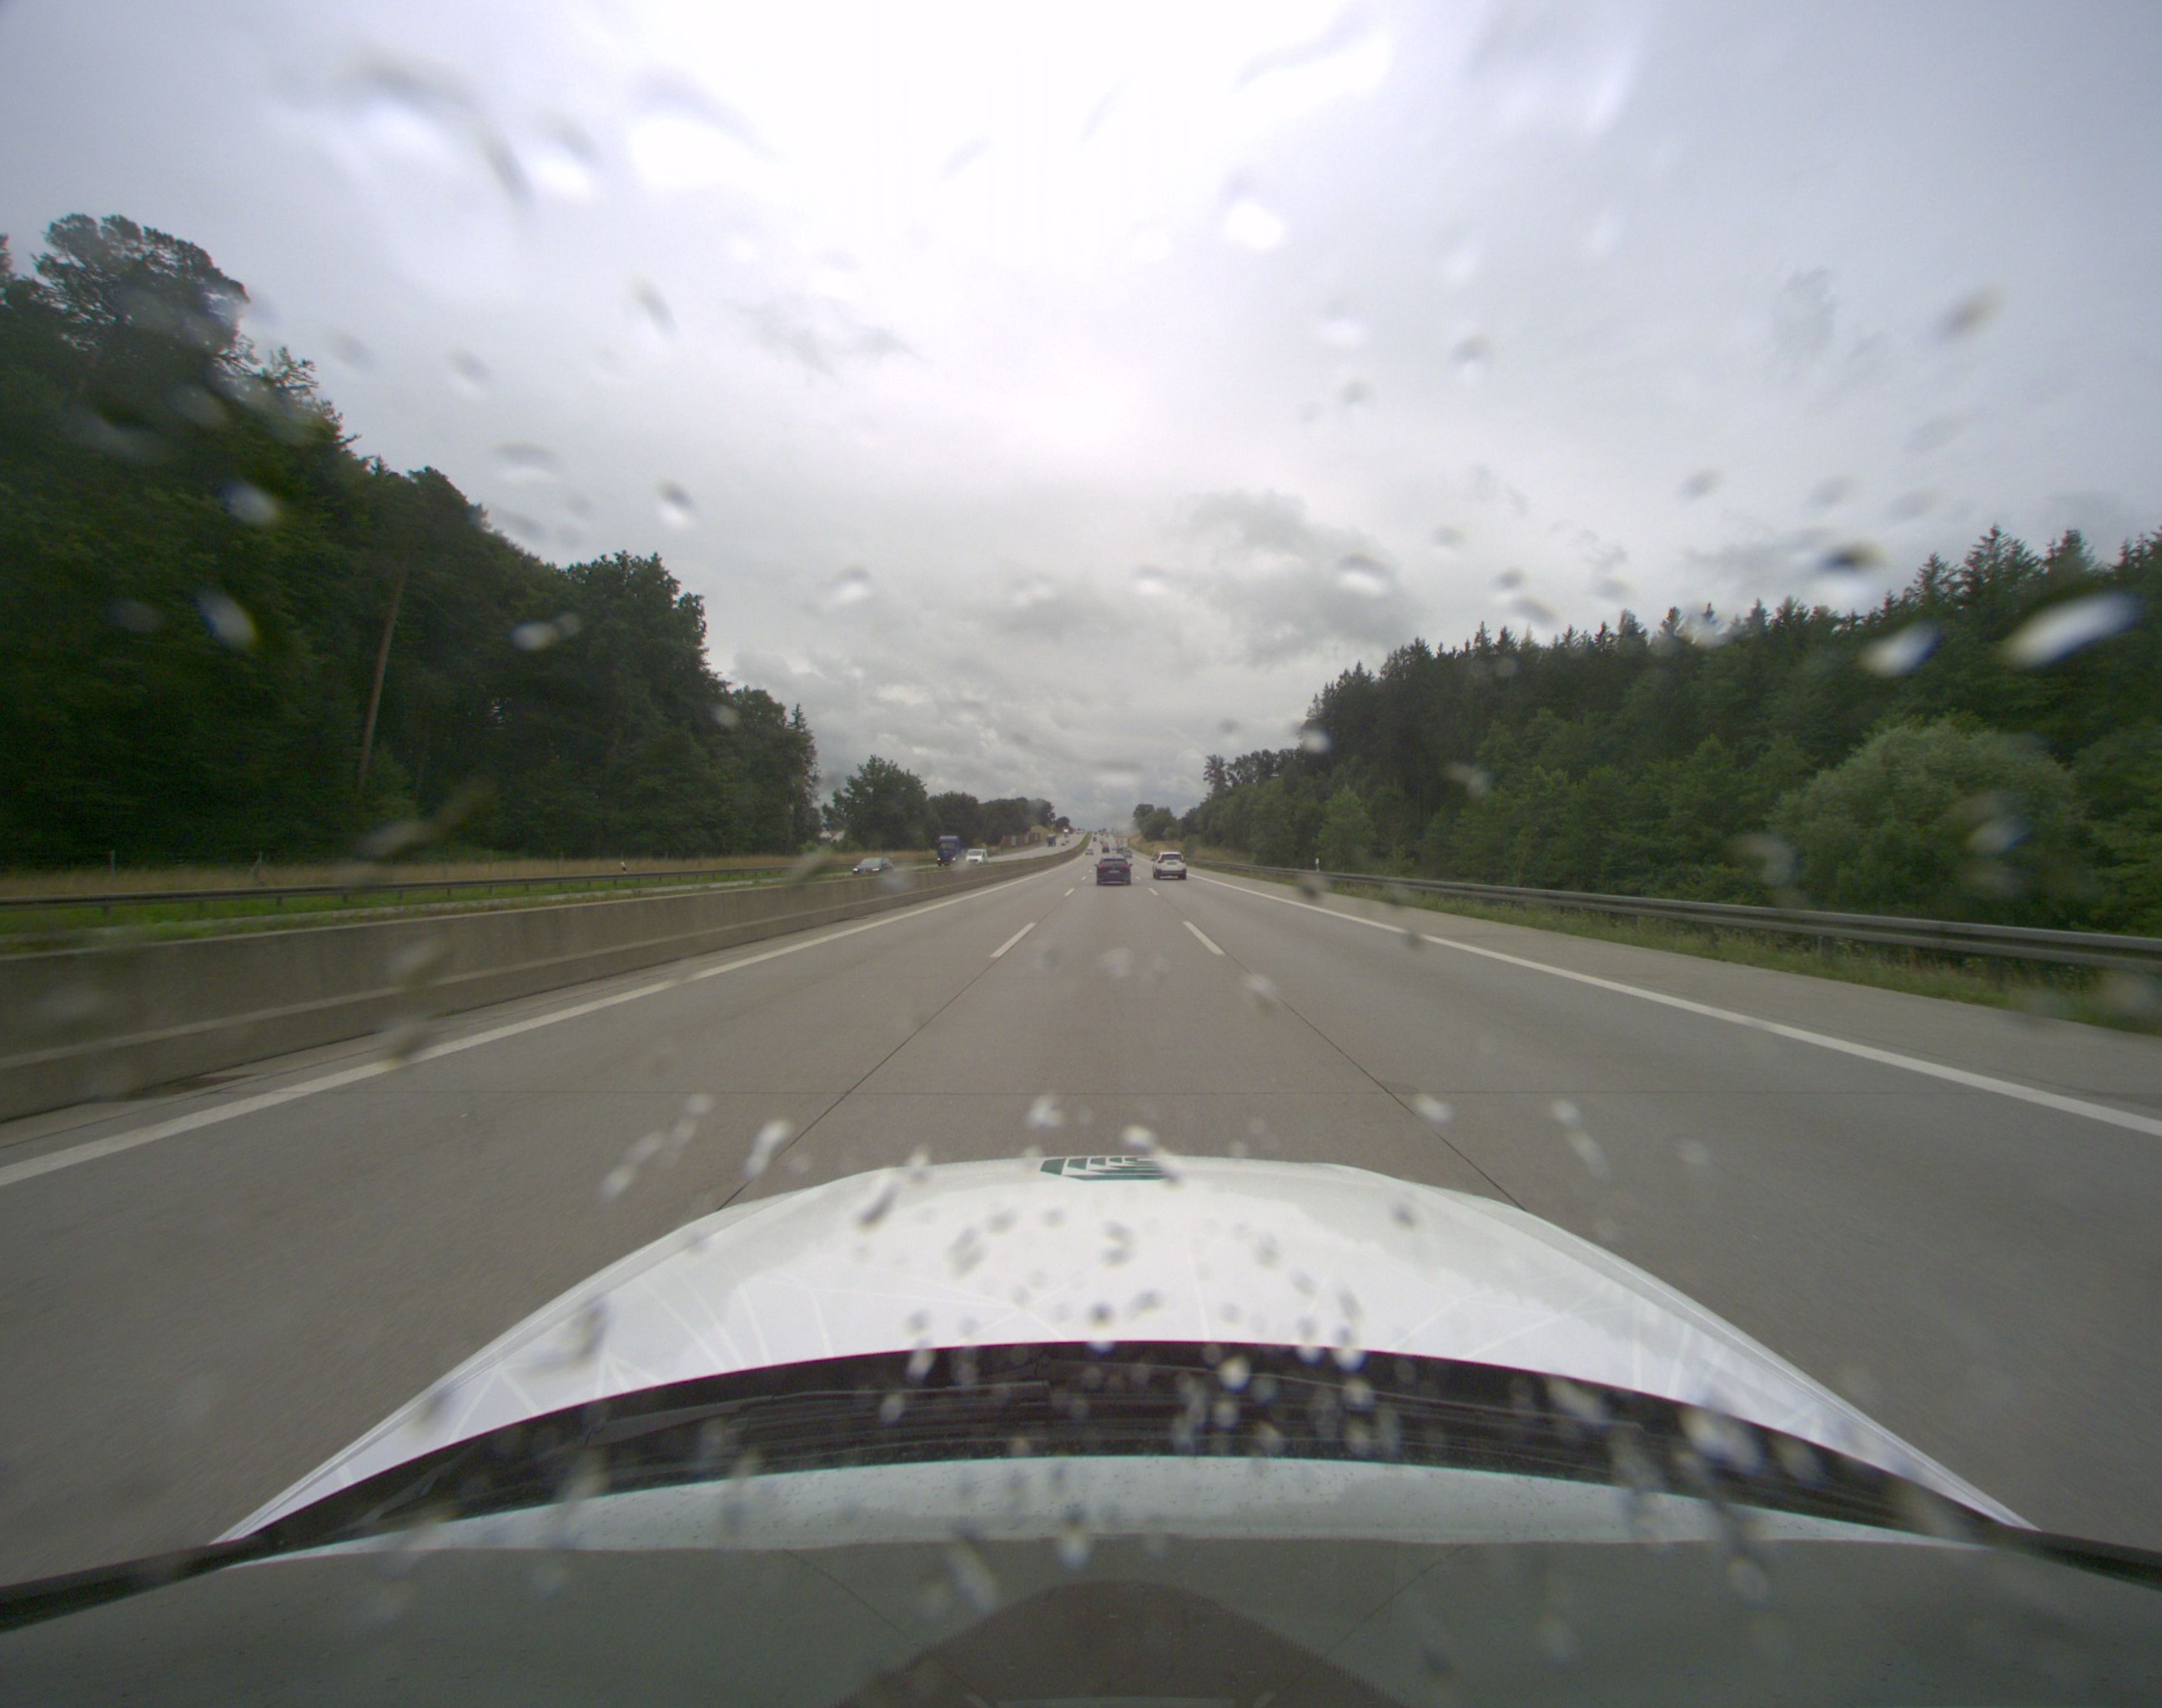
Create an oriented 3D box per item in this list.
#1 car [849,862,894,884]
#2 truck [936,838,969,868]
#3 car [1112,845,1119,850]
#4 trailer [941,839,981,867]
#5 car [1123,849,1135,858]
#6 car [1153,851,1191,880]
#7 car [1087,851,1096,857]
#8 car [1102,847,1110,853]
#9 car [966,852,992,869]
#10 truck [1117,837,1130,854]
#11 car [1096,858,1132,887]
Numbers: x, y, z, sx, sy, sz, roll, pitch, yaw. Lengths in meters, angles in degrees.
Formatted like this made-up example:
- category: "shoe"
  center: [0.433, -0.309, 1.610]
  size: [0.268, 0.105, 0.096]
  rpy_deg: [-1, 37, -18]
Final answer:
- category: "car"
  center: [-13.711, 1.201, 53.636]
  size: [1.842, 1.376, 4.436]
  rpy_deg: [0, 0, 0]
- category: "truck"
  center: [-15.696, -0.106, 99.620]
  size: [2.746, 3.517, 6.643]
  rpy_deg: [0, 0, 2]
- category: "car"
  center: [10.287, -1.941, 242.968]
  size: [1.985, 1.640, 4.004]
  rpy_deg: [0, 1, 3]
- category: "trailer"
  center: [-15.478, -0.092, 106.447]
  size: [2.775, 3.508, 13.890]
  rpy_deg: [0, 0, 2]
- category: "car"
  center: [8.753, -0.085, 149.164]
  size: [1.986, 1.530, 4.001]
  rpy_deg: [0, 0, 1]
- category: "car"
  center: [5.465, 0.672, 49.303]
  size: [1.820, 1.655, 3.985]
  rpy_deg: [0, 0, 0]
- category: "car"
  center: [2.398, 0.006, 185.855]
  size: [1.939, 1.356, 4.262]
  rpy_deg: [-1, -2, 3]
- category: "car"
  center: [6.320, -0.997, 206.134]
  size: [1.927, 1.375, 4.597]
  rpy_deg: [0, 0, 2]
- category: "car"
  center: [-11.332, 0.686, 90.745]
  size: [2.080, 1.801, 5.499]
  rpy_deg: [0, 0, 2]
- category: "truck"
  center: [10.602, -2.240, 202.520]
  size: [3.007, 4.180, 8.357]
  rpy_deg: [0, 1, 1]
- category: "car"
  center: [1.723, 0.916, 41.805]
  size: [1.745, 1.398, 4.487]
  rpy_deg: [0, -1, 3]
